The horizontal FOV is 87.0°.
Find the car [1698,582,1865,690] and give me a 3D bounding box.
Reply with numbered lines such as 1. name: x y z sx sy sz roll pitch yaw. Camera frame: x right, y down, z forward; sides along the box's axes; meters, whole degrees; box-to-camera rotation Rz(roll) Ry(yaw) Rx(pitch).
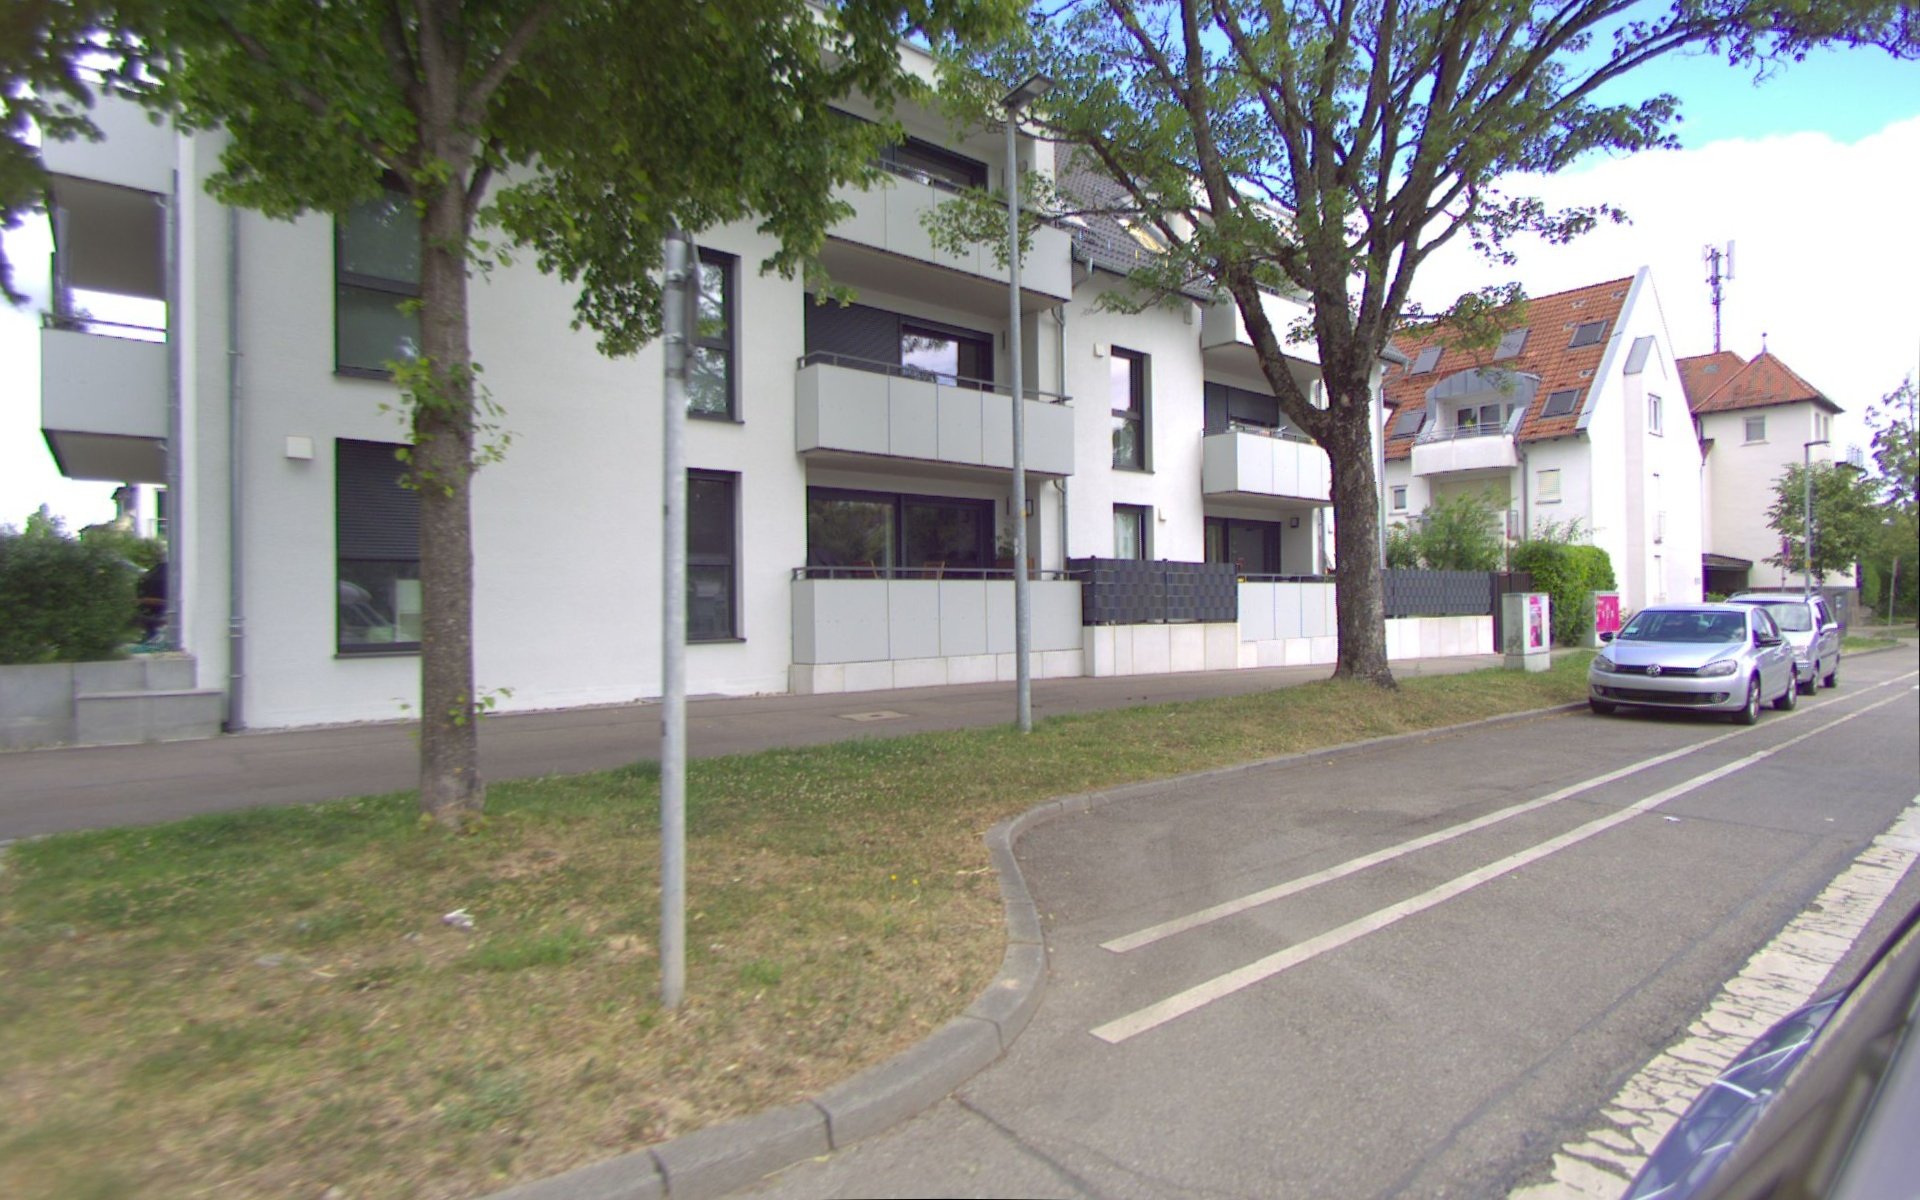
1. car: 14.367 0.551 17.645 3.583 1.686 1.635 0 0 -40

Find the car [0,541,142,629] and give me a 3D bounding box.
1. car: -27.416 -0.442 30.462 4.177 2.540 1.995 0 0 -45

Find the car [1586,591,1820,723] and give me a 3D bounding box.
1. car: 10.085 0.640 13.622 4.153 1.512 1.690 0 0 -41
